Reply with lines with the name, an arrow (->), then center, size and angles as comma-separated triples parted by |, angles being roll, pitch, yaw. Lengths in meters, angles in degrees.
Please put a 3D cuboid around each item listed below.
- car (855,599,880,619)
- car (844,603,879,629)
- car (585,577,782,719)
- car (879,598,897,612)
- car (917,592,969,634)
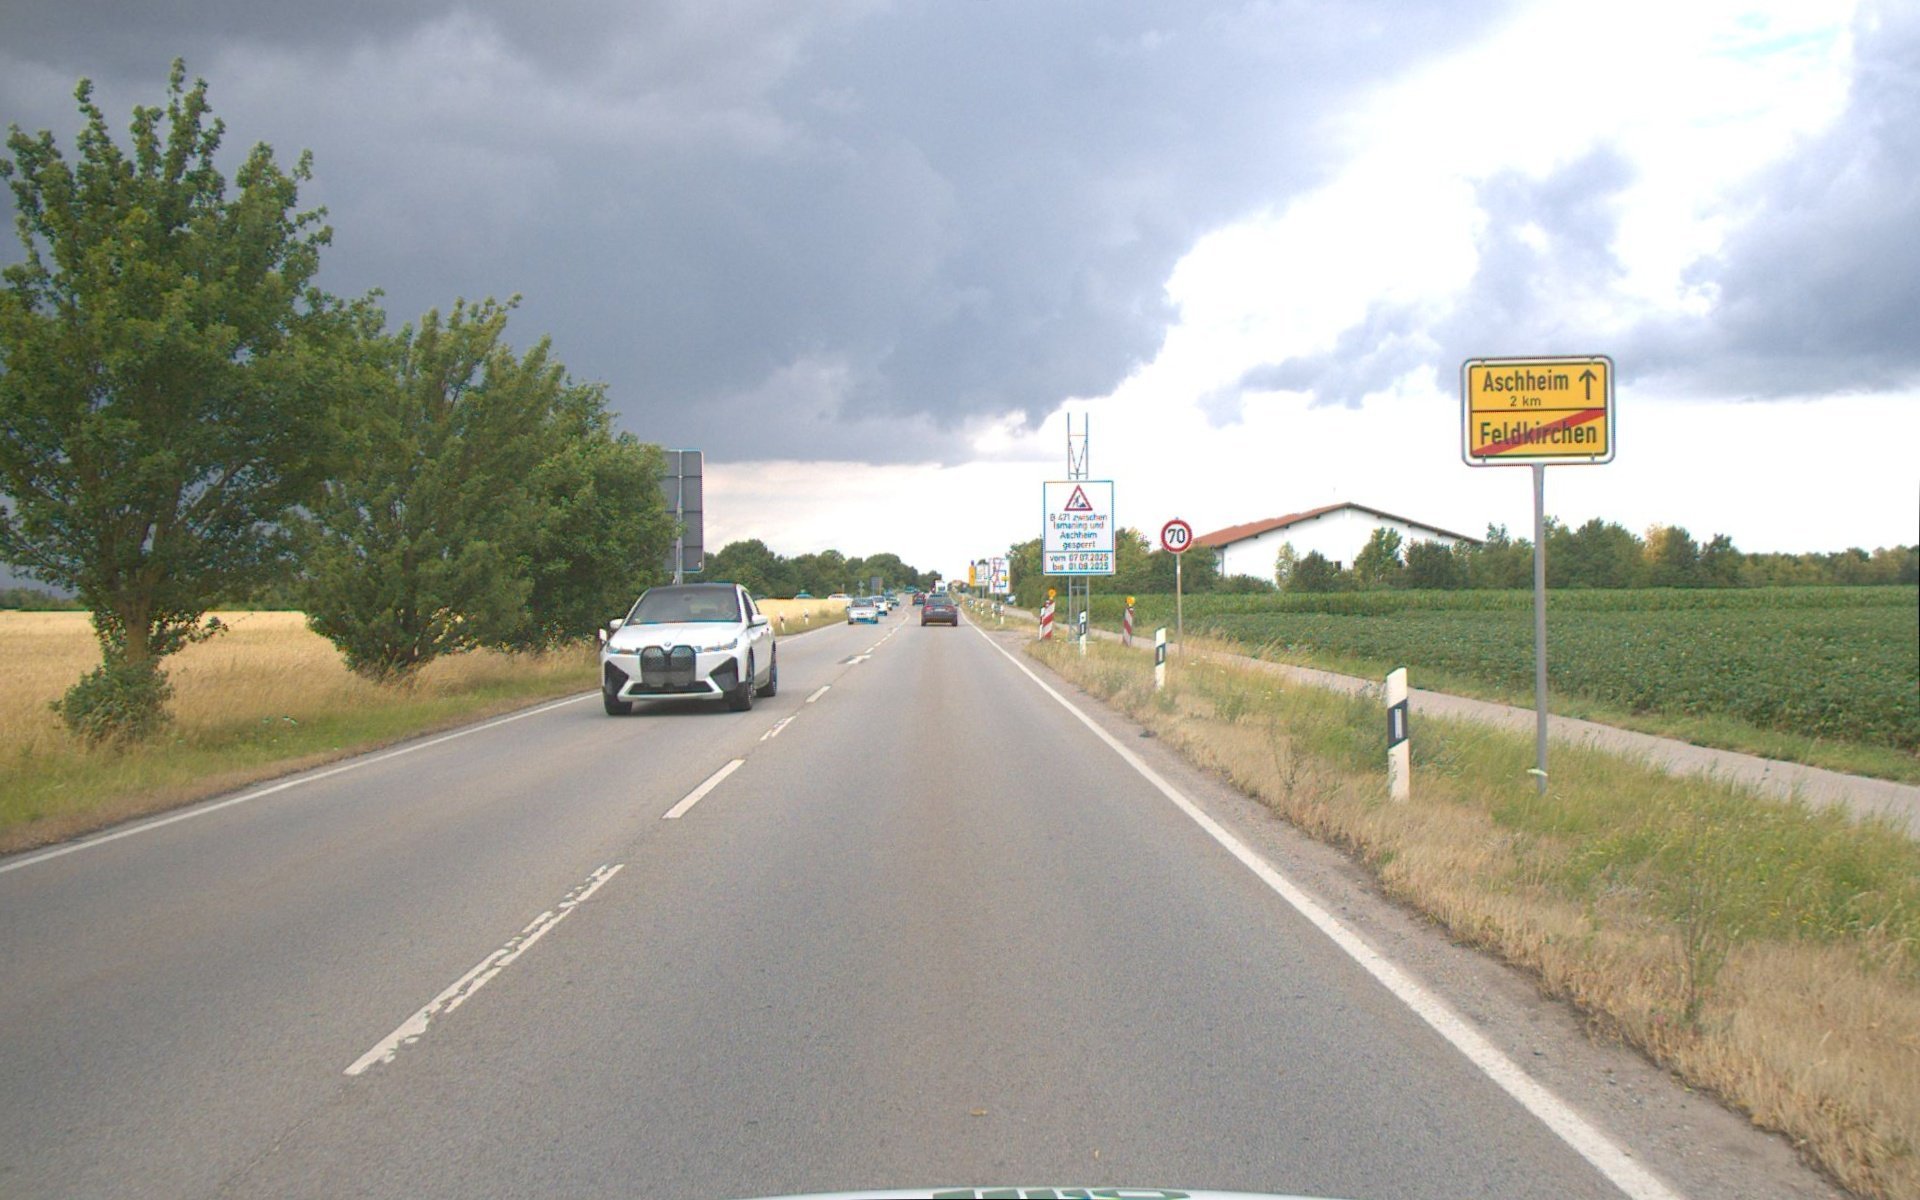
car -> -7.219, 0.710, 129.128 | 1.769, 1.482, 4.112 | -1, 0, -1
car -> -5.449, 0.858, 91.752 | 1.693, 1.387, 3.949 | -1, 0, -1
car -> -3.692, 0.583, 22.967 | 1.953, 1.713, 4.808 | -1, 0, -1
car -> -9.132, 0.640, 209.397 | 2.023, 1.608, 4.764 | -2, 0, -1
car -> -0.896, 0.647, 82.180 | 2.325, 1.913, 4.475 | -2, 0, -3
